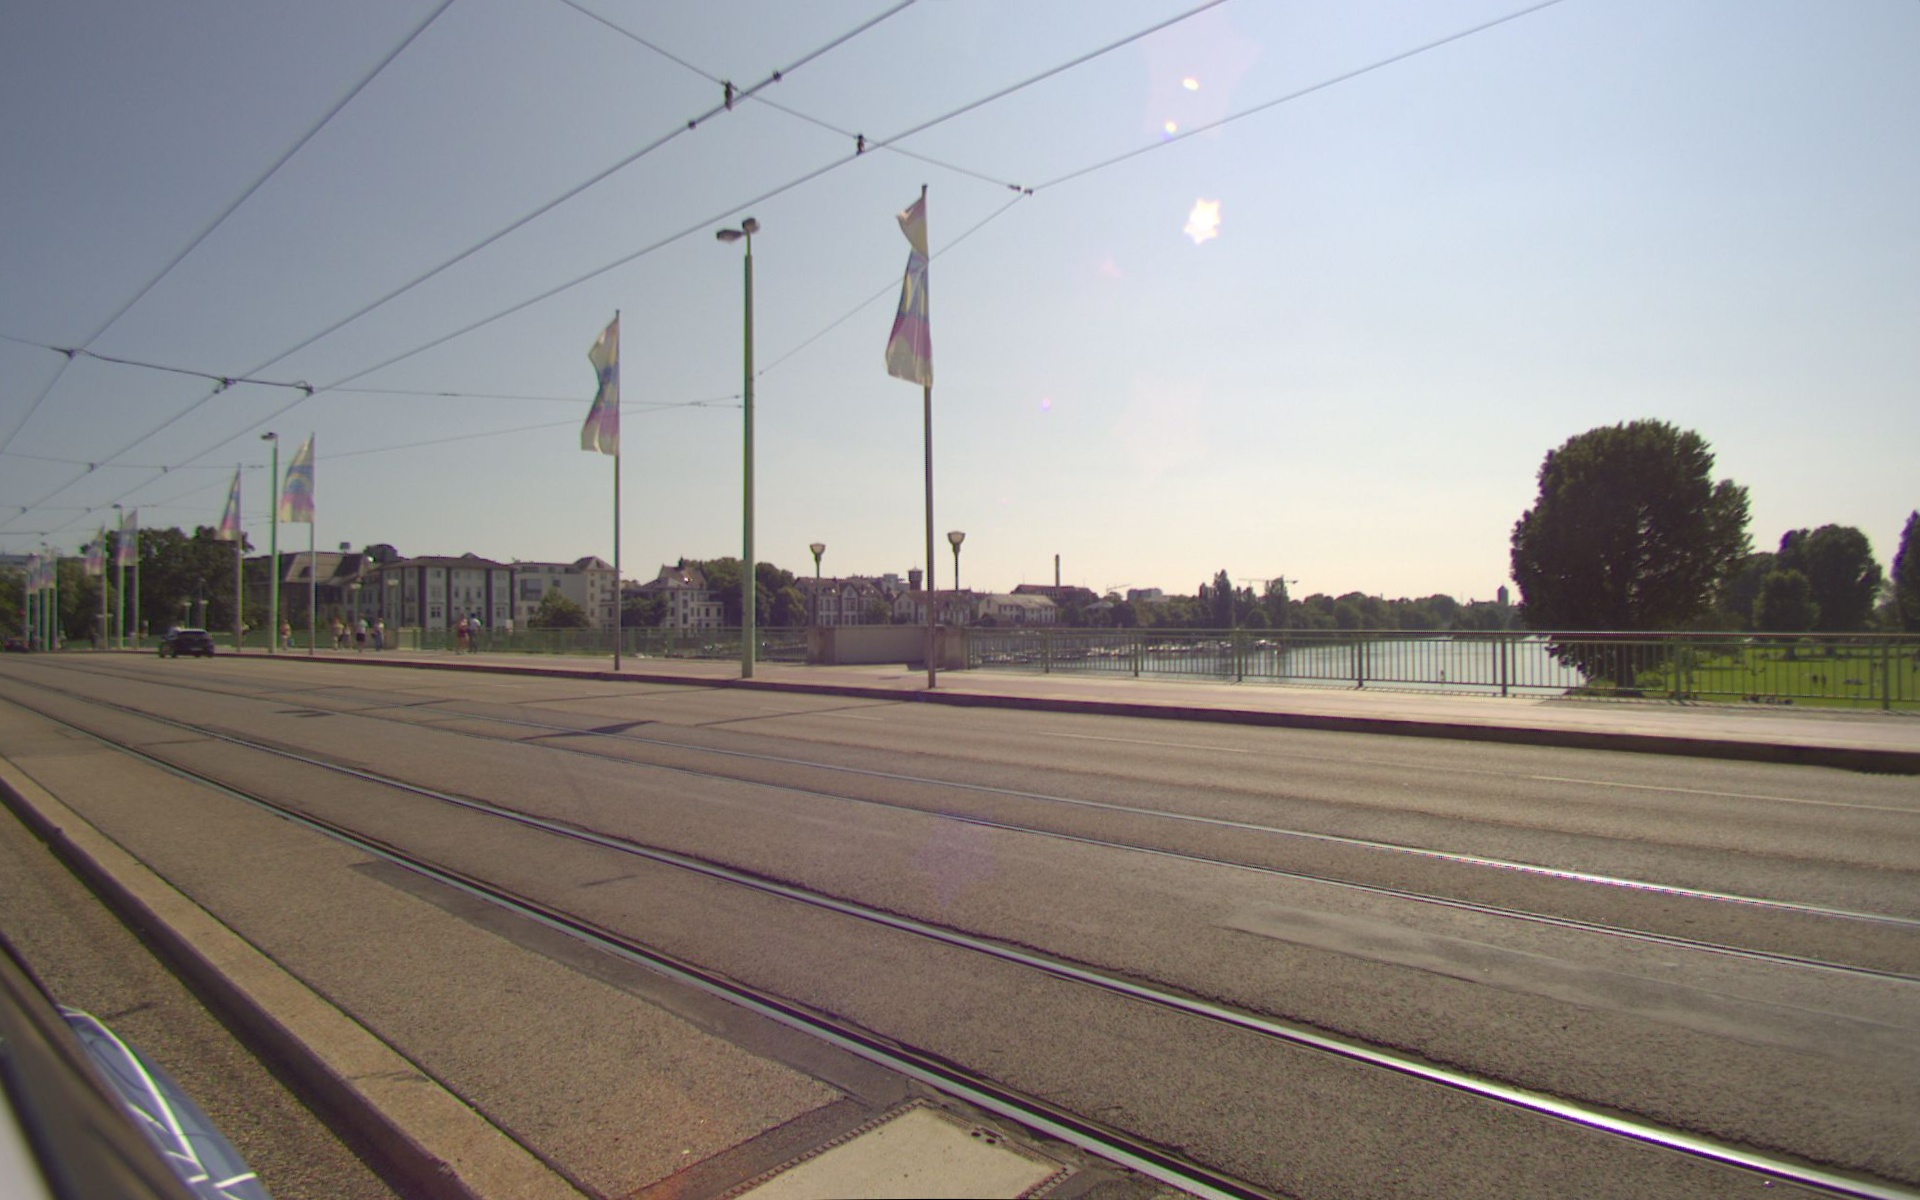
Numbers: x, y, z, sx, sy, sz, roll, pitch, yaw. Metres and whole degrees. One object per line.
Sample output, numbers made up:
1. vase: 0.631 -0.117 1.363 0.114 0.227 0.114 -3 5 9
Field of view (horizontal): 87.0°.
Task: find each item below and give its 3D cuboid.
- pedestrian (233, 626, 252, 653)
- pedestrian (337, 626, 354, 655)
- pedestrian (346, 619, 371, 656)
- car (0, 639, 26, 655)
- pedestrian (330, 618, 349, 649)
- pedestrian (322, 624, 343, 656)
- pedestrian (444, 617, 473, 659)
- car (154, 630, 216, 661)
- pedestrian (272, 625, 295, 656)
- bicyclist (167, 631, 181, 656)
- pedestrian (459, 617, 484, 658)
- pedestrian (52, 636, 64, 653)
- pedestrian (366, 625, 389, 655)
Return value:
1. pedestrian: -47.599 2.623 67.162 1.022 1.712 0.777 -2 1 41
2. pedestrian: -31.929 2.091 52.583 0.788 1.448 0.540 -2 0 41
3. pedestrian: -28.545 1.772 48.024 1.022 1.712 0.663 -2 0 41
4. car: -89.440 4.426 95.394 3.999 1.447 1.650 -1 -2 42
5. pedestrian: -34.662 1.876 56.517 1.022 1.712 0.584 -2 0 41
6. pedestrian: -32.235 2.032 51.984 1.022 1.611 0.619 -2 0 41
7. pedestrian: -20.880 1.571 42.144 1.022 1.703 0.677 -2 0 41
8. car: -38.715 2.238 50.512 3.900 1.465 1.698 -1 -2 41
9. pedestrian: -37.752 2.251 56.478 1.022 1.712 0.777 -2 1 41
10. bicyclist: -53.570 2.964 69.004 0.621 1.663 0.657 -2 -2 42
11. pedestrian: -21.062 1.593 43.599 1.022 1.712 0.584 -2 0 41
12. pedestrian: -93.841 4.608 105.256 1.022 1.712 0.777 -2 1 41
13. pedestrian: -27.812 1.900 48.320 1.022 1.425 0.584 -2 0 41
